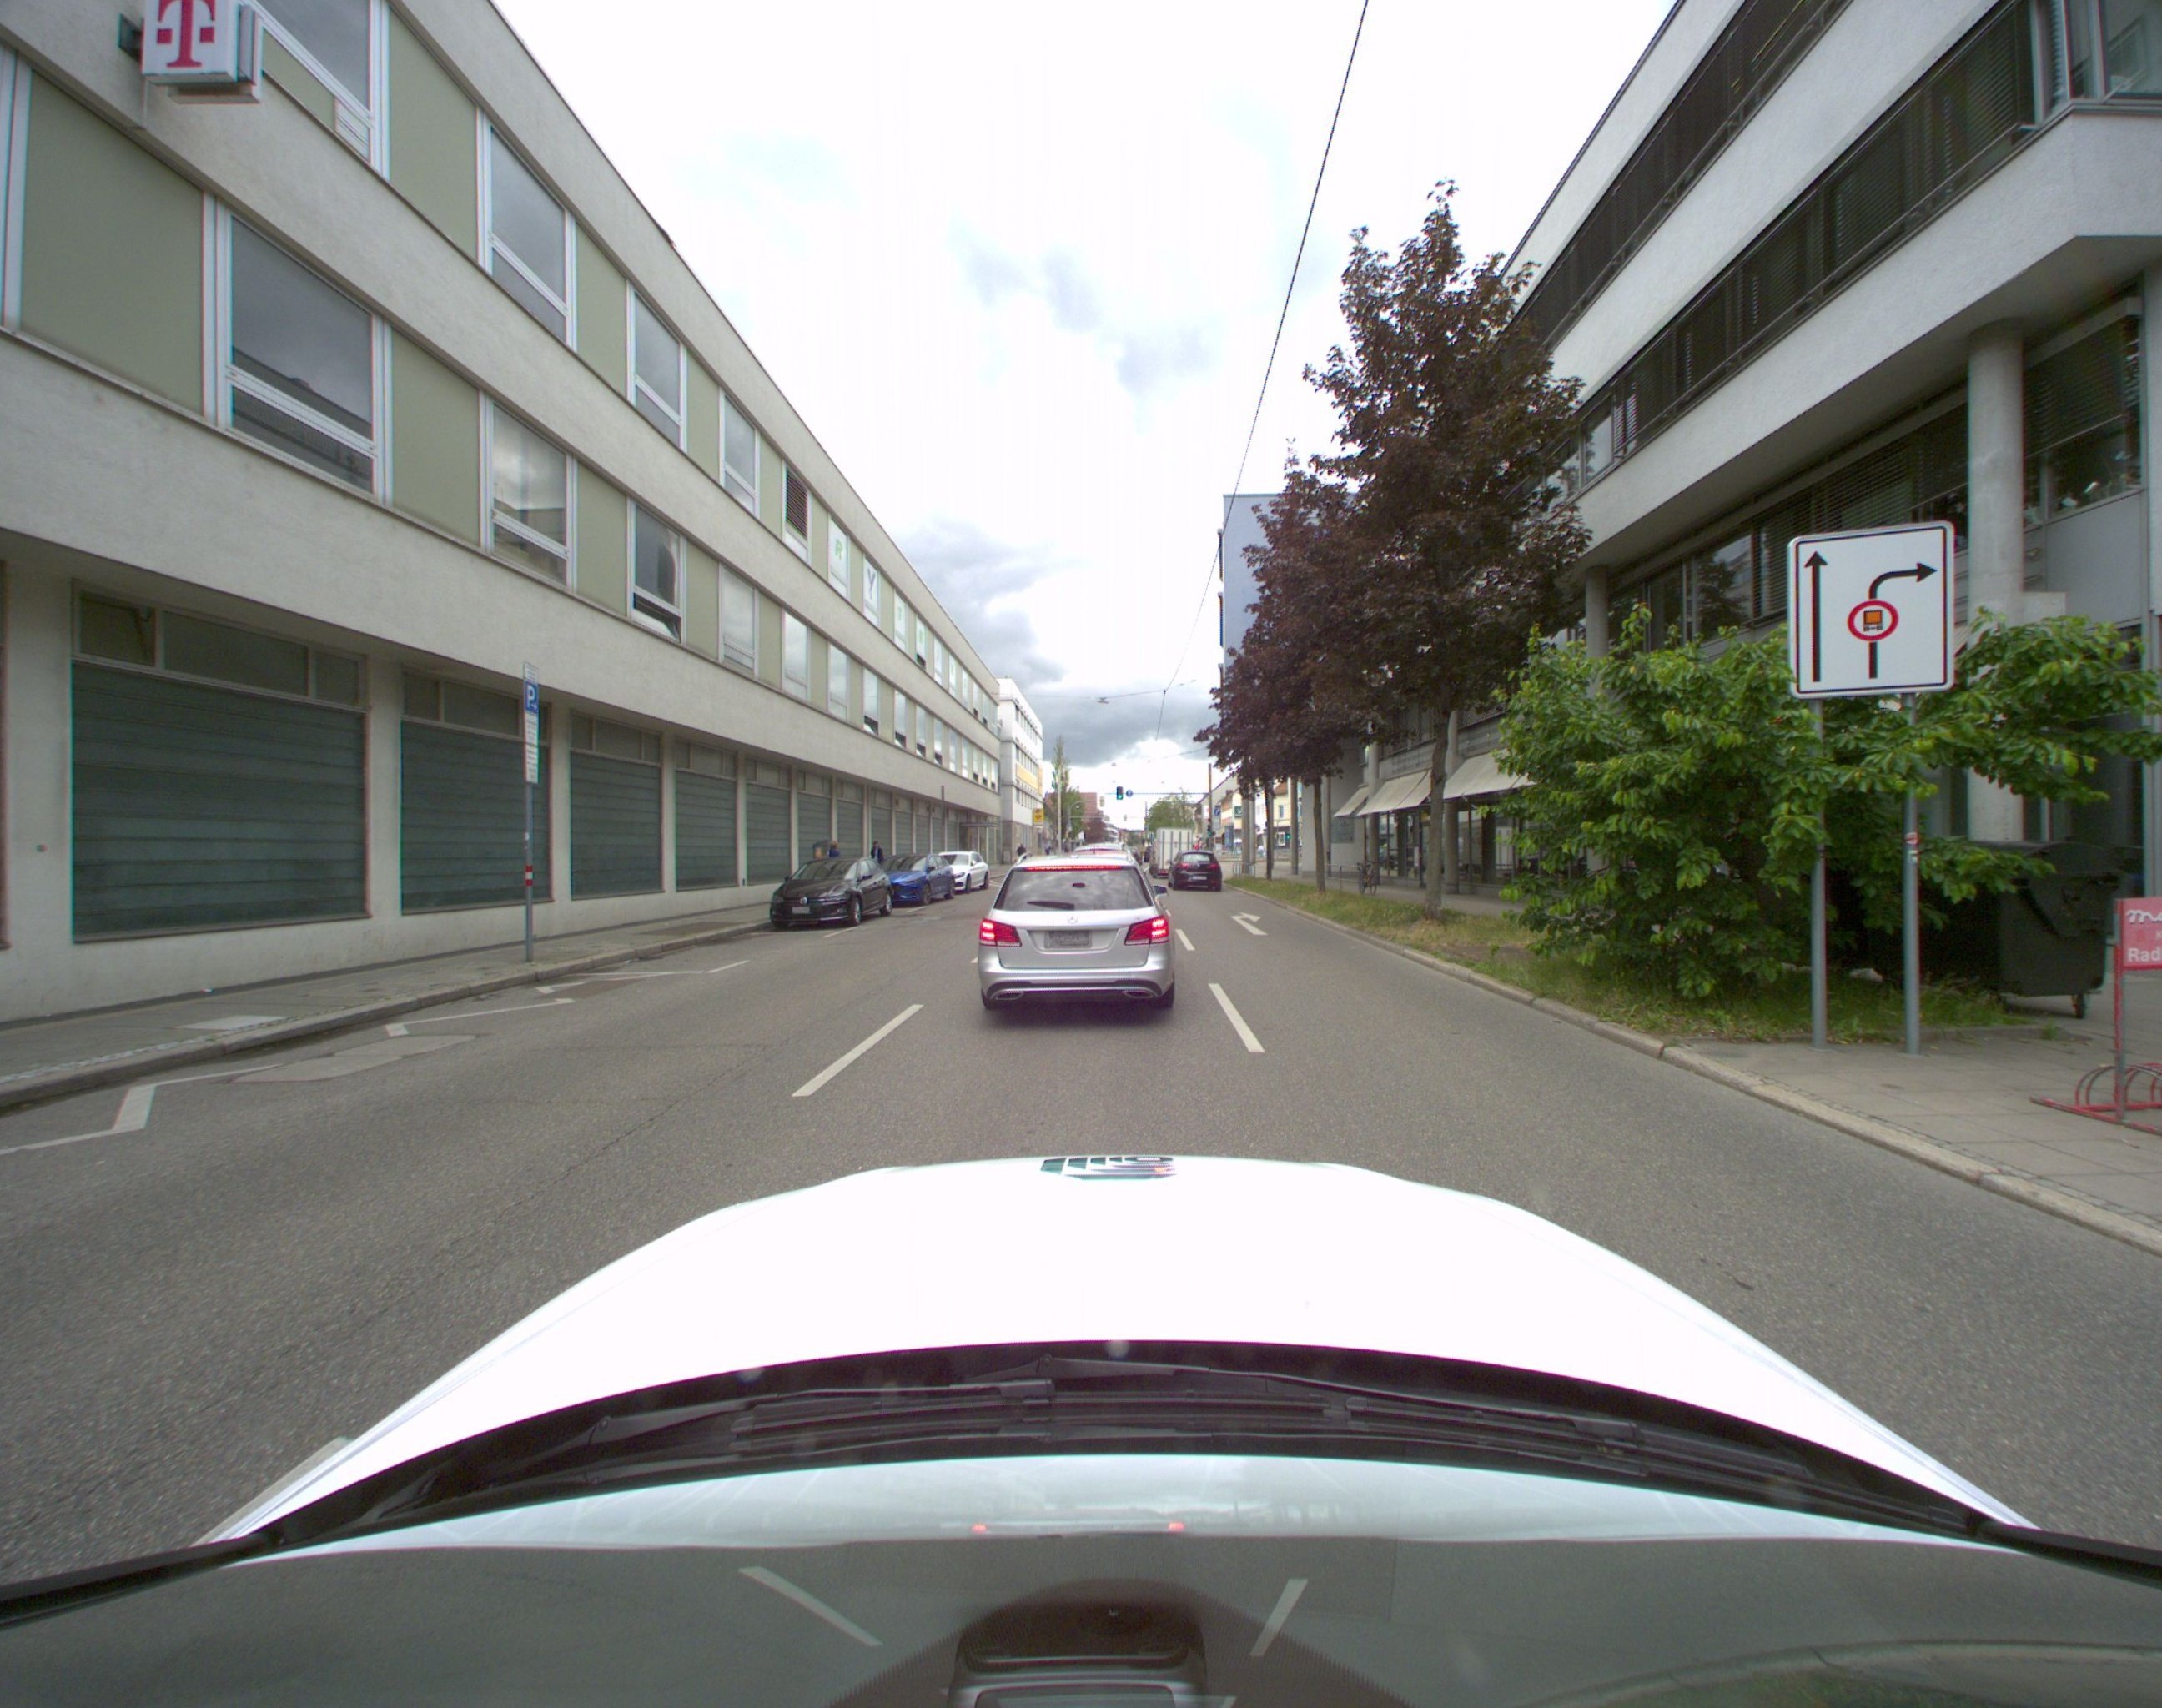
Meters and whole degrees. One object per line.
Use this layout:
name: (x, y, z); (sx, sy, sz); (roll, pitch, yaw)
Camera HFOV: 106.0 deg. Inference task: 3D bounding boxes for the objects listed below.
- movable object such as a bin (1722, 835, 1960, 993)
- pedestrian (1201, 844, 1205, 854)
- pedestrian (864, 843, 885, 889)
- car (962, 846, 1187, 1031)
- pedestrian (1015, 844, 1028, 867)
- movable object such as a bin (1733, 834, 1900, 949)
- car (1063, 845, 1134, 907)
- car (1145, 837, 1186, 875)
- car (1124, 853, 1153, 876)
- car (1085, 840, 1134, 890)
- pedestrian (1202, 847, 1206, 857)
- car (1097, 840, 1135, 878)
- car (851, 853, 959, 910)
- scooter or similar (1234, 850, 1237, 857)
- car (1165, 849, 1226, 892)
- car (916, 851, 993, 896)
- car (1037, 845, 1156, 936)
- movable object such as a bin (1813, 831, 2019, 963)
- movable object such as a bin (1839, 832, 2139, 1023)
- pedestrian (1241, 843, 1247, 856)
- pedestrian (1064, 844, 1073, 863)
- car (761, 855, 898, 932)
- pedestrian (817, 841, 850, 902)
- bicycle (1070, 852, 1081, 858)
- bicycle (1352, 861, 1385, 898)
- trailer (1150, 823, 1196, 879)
movable object such as a bin: (7.786, 0.570, 8.452); (1.123, 1.465, 1.413); (-2, 0, 1)
pedestrian: (19.576, -0.788, 131.002); (0.576, 1.666, 0.651); (0, 0, 0)
pedestrian: (-7.807, 0.444, 30.825); (0.587, 1.718, 0.650); (-1, 0, 1)
car: (-0.007, 0.688, 8.826); (1.839, 1.508, 4.172); (-1, 0, 1)
pedestrian: (-4.545, 0.130, 62.219); (0.858, 1.718, 1.032); (1, 0, 1)
movable object such as a bin: (10.144, 0.490, 11.310); (1.094, 1.465, 1.333); (-2, 0, 1)
car: (0.476, 0.521, 21.989); (1.728, 1.508, 4.001); (-1, 0, 1)
car: (4.661, 0.097, 45.435); (1.871, 1.945, 4.907); (2, 0, 1)
car: (3.809, 0.684, 54.086); (1.728, 1.410, 4.001); (-1, 1, 1)
car: (1.059, 0.375, 30.830); (1.728, 1.759, 4.001); (-1, 0, 1)
pedestrian: (19.305, -0.298, 128.030); (0.575, 1.469, 0.651); (0, 0, 3)
car: (1.728, 0.219, 40.719); (1.821, 1.785, 4.002); (-1, 0, 2)
car: (-4.982, 0.728, 23.659); (1.806, 1.425, 4.270); (-2, 0, 5)
scooter or similar: (22.937, -0.043, 121.098); (0.270, 1.001, 1.029); (-1, 0, 0)
car: (4.150, 0.552, 30.035); (1.728, 1.410, 4.001); (-1, 1, 1)
car: (-4.486, 0.661, 29.629); (1.662, 1.434, 4.559); (-2, 0, 5)
car: (0.432, 0.593, 15.488); (1.724, 1.508, 4.010); (0, 0, 8)
movable object such as a bin: (10.113, 0.491, 9.949); (1.118, 1.465, 1.333); (-2, 0, 1)
movable object such as a bin: (7.770, 0.575, 7.079); (1.094, 1.465, 1.333); (-2, 0, 1)
pedestrian: (21.068, -0.573, 105.240); (0.641, 1.718, 0.709); (-1, 0, 31)
pedestrian: (-1.118, -0.040, 71.741); (0.643, 1.718, 0.785); (1, 0, 10)
car: (-5.390, 0.782, 17.994); (1.710, 1.425, 3.871); (-2, 0, 1)
pedestrian: (-7.133, 0.501, 23.510); (0.587, 1.718, 1.055); (-1, 0, 1)
bicycle: (-1.002, 0.143, 150.918); (1.935, 1.029, 0.529); (0, 0, -7)
bicycle: (8.853, 0.760, 25.155); (0.359, 1.086, 2.028); (0, 0, 1)
trailer: (4.541, -0.146, 40.828); (1.871, 2.613, 4.324); (2, 0, 1)
